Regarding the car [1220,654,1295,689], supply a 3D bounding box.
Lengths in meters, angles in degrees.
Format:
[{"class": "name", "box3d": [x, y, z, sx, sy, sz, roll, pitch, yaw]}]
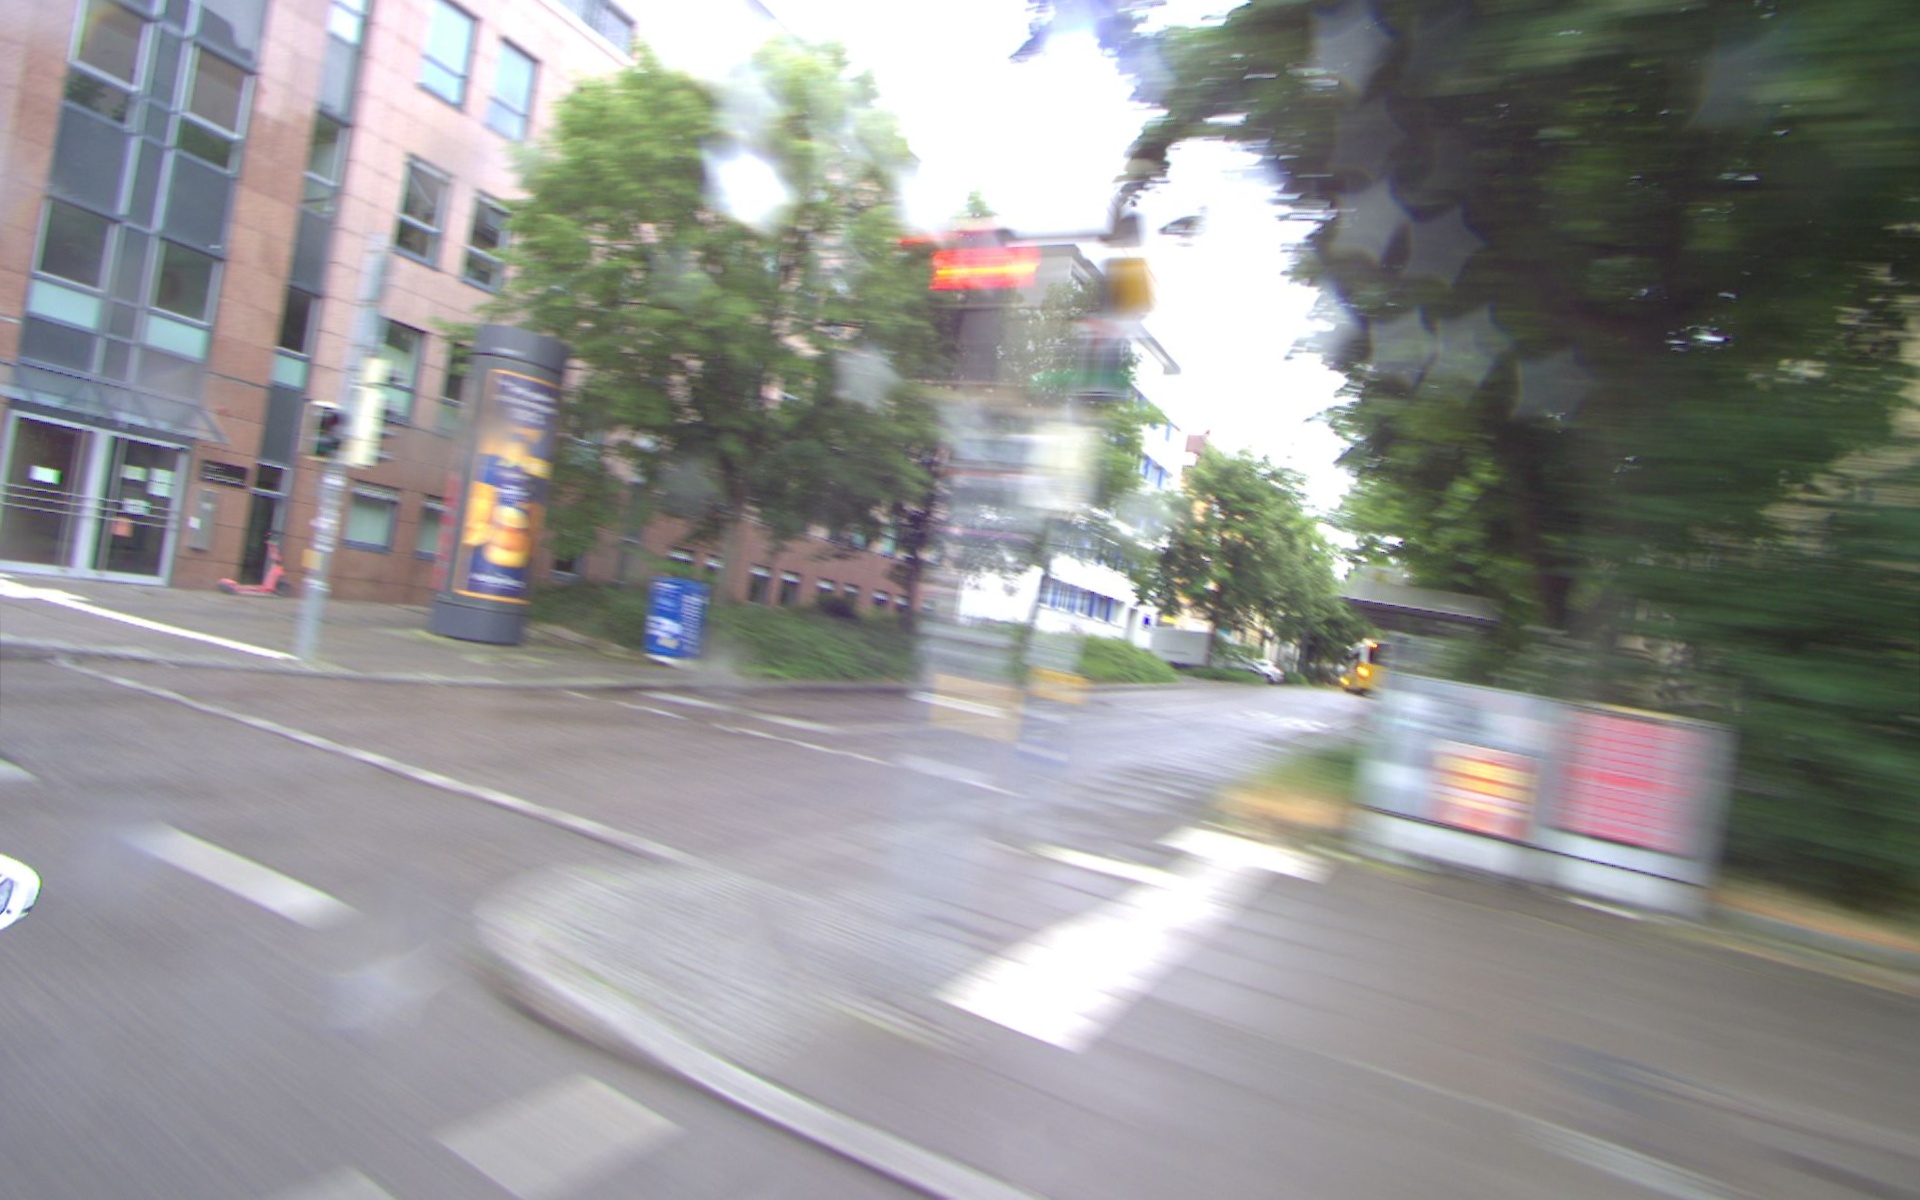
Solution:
[{"class": "car", "box3d": [17.524, 4.193, 59.254, 3.801, 1.498, 1.701, 7, 1, 30]}]

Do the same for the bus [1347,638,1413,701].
[{"class": "bus", "box3d": [24.670, 4.133, 59.550, 2.801, 3.053, 10.508, 7, -1, 20]}]

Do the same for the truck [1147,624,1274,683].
[{"class": "truck", "box3d": [13.329, 2.831, 53.552, 5.978, 2.305, 2.263, 7, 0, 28]}]

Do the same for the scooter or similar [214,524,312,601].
[{"class": "scooter or similar", "box3d": [-12.852, -0.676, 18.579, 0.320, 1.242, 1.376, 7, -1, 31]}]
